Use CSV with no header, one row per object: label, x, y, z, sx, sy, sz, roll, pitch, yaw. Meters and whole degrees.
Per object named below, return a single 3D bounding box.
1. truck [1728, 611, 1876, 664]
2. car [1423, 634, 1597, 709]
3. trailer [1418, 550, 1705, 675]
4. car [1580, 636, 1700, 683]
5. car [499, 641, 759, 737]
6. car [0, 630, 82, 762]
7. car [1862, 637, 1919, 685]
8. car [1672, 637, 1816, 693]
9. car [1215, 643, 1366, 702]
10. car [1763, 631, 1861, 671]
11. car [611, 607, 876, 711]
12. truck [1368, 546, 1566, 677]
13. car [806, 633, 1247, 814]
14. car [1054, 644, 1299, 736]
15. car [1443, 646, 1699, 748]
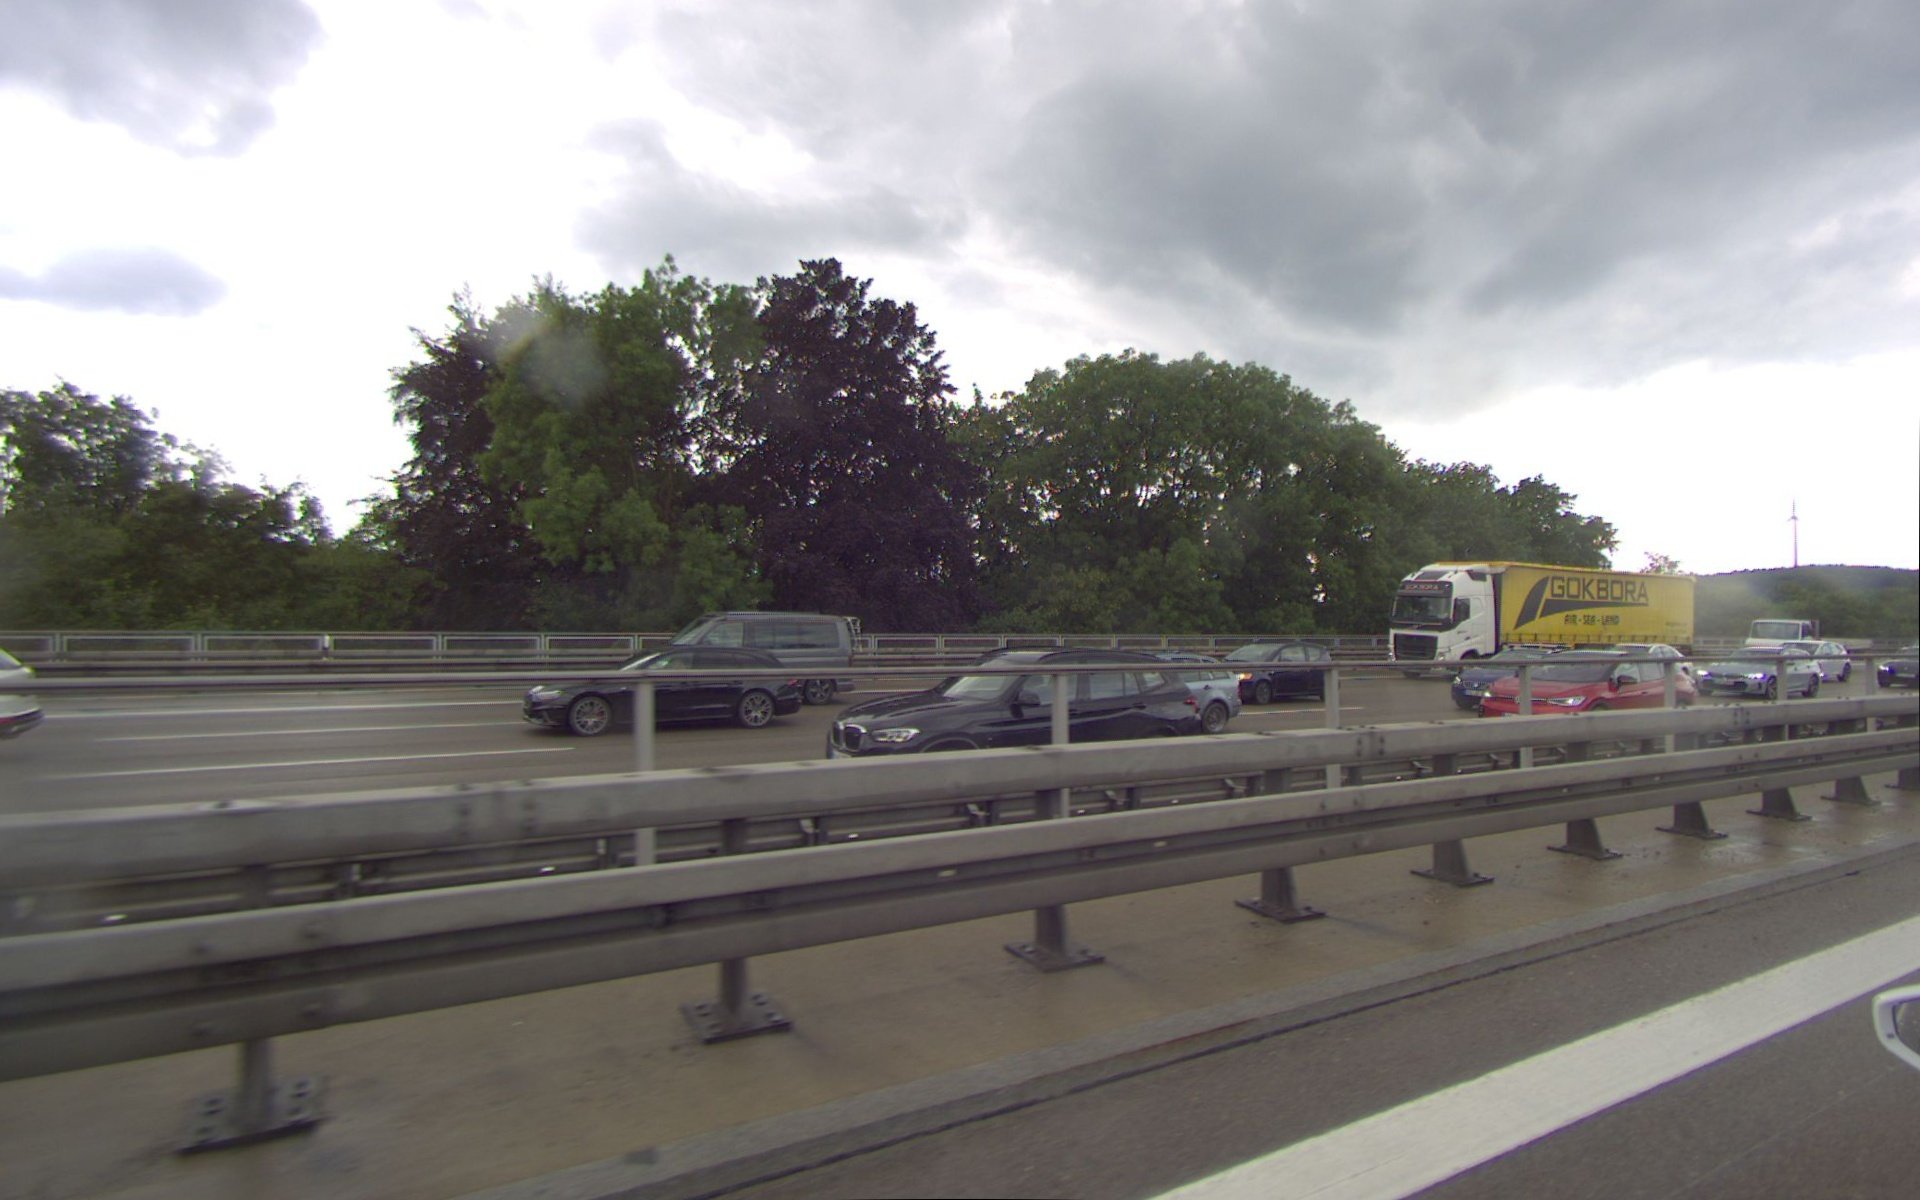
truck,41.483,1.817,49.391,9.166,2.403,2.668,1,-2,-30
car,13.276,1.647,24.166,4.528,1.633,1.769,1,-2,-33
trailer,24.021,0.587,39.573,14.339,4.284,3.232,1,-2,-30
car,22.716,1.932,33.528,4.006,1.457,1.814,1,-2,-31
car,-5.596,1.433,17.150,3.957,1.437,1.624,1,-2,-33
car,-13.804,1.180,12.239,4.415,1.634,1.717,1,-2,-33
car,34.178,2.153,35.922,4.369,1.597,1.738,1,-2,-32
car,23.365,1.869,29.868,5.164,1.499,1.798,1,-2,-33
car,8.277,1.753,25.034,3.957,1.318,1.439,1,-2,-33
car,33.816,1.990,39.857,4.369,1.498,1.738,1,-2,-32
car,-4.660,1.223,21.998,5.353,2.040,1.982,1,-2,-33
truck,18.313,0.469,36.223,6.801,4.306,3.232,1,-2,-30
car,0.914,1.264,11.851,5.117,1.692,1.857,1,-1,-33
car,4.009,1.553,18.318,4.428,1.444,1.806,1,-2,-33
car,10.855,1.613,17.743,4.789,1.482,1.983,1,-1,-33
